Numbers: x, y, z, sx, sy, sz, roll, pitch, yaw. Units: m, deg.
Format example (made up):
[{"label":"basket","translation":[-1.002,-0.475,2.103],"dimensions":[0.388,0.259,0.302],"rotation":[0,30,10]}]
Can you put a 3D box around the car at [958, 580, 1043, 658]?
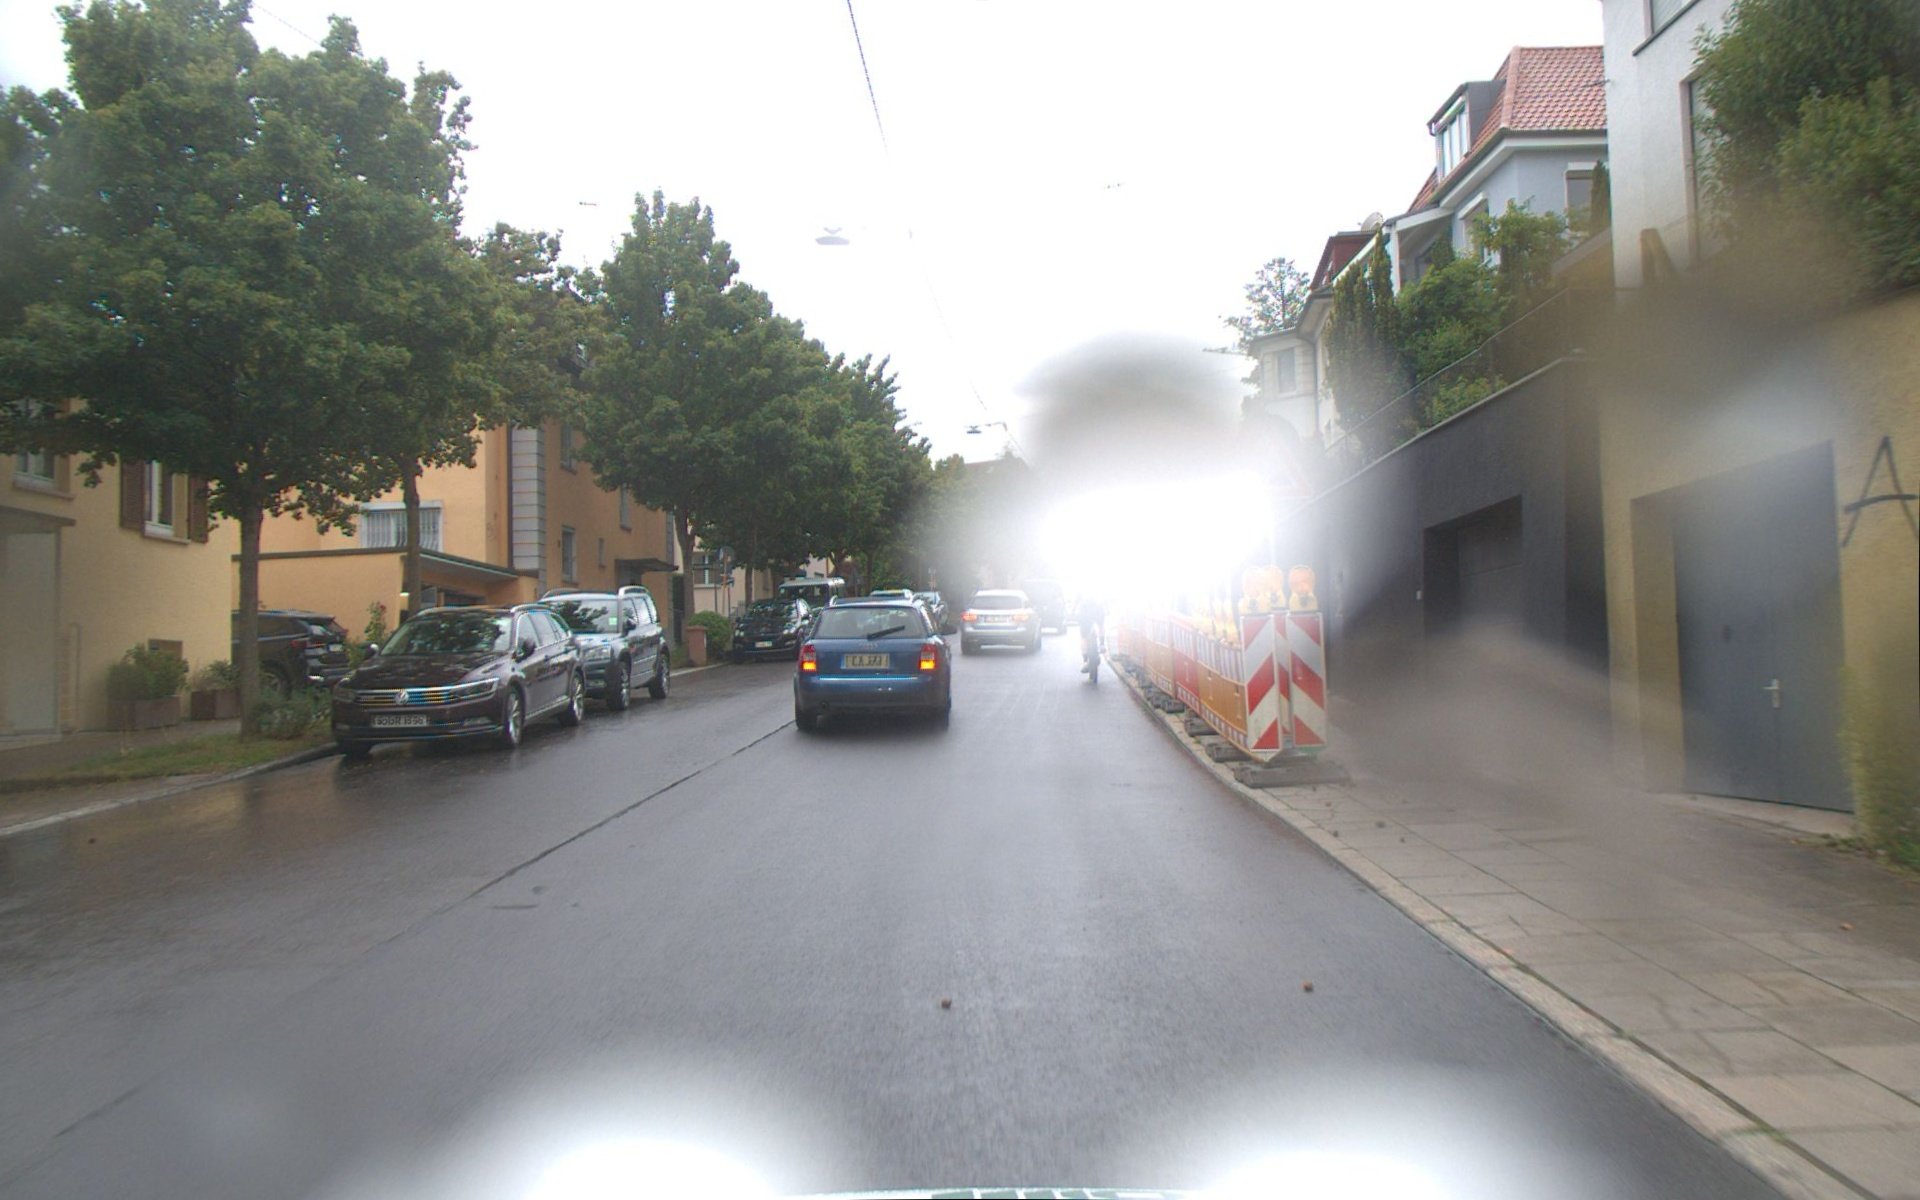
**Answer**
[{"label":"car","translation":[1.004,0.406,39.959],"dimensions":[1.934,1.663,4.237],"rotation":[1,2,2]}]

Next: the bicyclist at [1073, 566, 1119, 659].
[{"label":"bicyclist","translation":[2.246,0.206,27.381],"dimensions":[0.710,1.498,0.887],"rotation":[-1,0,4]}]

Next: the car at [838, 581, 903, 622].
[{"label":"car","translation":[-4.909,0.075,90.895],"dimensions":[3.144,1.769,1.481],"rotation":[-8,1,8]}]

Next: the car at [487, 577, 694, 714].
[{"label":"car","translation":[-5.230,0.572,23.964],"dimensions":[1.731,1.662,4.111],"rotation":[-5,1,4]}]

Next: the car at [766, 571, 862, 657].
[{"label":"car","translation":[-3.979,0.320,45.878],"dimensions":[1.754,2.085,4.785],"rotation":[-5,1,4]}]

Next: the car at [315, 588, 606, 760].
[{"label":"car","translation":[-5.370,0.710,18.462],"dimensions":[1.732,1.562,4.606],"rotation":[-3,1,1]}]

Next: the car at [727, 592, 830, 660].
[{"label":"car","translation":[-4.370,0.589,40.396],"dimensions":[1.731,1.461,4.349],"rotation":[-3,0,3]}]

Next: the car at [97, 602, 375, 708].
[{"label":"car","translation":[-12.505,0.932,28.742],"dimensions":[3.968,1.675,1.864],"rotation":[-2,0,3]}]

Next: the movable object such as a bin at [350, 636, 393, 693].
[{"label":"movable object such as a bin","translation":[-11.042,1.207,31.051],"dimensions":[0.574,1.041,0.586],"rotation":[-1,0,0]}]

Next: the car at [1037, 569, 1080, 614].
[{"label":"car","translation":[4.309,-0.394,72.113],"dimensions":[1.697,1.799,4.239],"rotation":[1,2,5]}]

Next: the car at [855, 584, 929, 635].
[{"label":"car","translation":[-2.367,0.320,58.992],"dimensions":[1.730,1.655,4.694],"rotation":[-3,0,8]}]

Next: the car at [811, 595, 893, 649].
[{"label":"car","translation":[-3.353,0.659,52.163],"dimensions":[1.731,1.411,4.638],"rotation":[-3,1,6]}]

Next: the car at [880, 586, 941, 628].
[{"label":"car","translation":[-1.895,0.246,64.395],"dimensions":[1.730,1.498,4.011],"rotation":[-3,0,7]}]

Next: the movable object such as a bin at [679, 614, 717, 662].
[{"label":"movable object such as a bin","translation":[-6.050,0.878,38.224],"dimensions":[0.669,1.028,0.708],"rotation":[-6,0,-2]}]

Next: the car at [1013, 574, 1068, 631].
[{"label":"car","translation":[2.823,0.051,57.213],"dimensions":[1.697,1.799,4.239],"rotation":[1,2,5]}]

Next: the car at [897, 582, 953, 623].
[{"label":"car","translation":[-1.442,0.097,69.580],"dimensions":[1.730,1.566,4.011],"rotation":[-3,0,7]}]

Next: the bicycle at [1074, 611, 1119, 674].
[{"label":"bicycle","translation":[2.258,0.695,27.433],"dimensions":[0.714,0.981,1.671],"rotation":[-1,0,4]}]

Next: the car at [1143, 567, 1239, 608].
[{"label":"car","translation":[9.959,-0.560,71.238],"dimensions":[3.902,1.492,1.741],"rotation":[-3,1,11]}]

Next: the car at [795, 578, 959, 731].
[{"label":"car","translation":[-0.865,0.542,19.291],"dimensions":[1.698,1.492,4.001],"rotation":[0,2,0]}]
